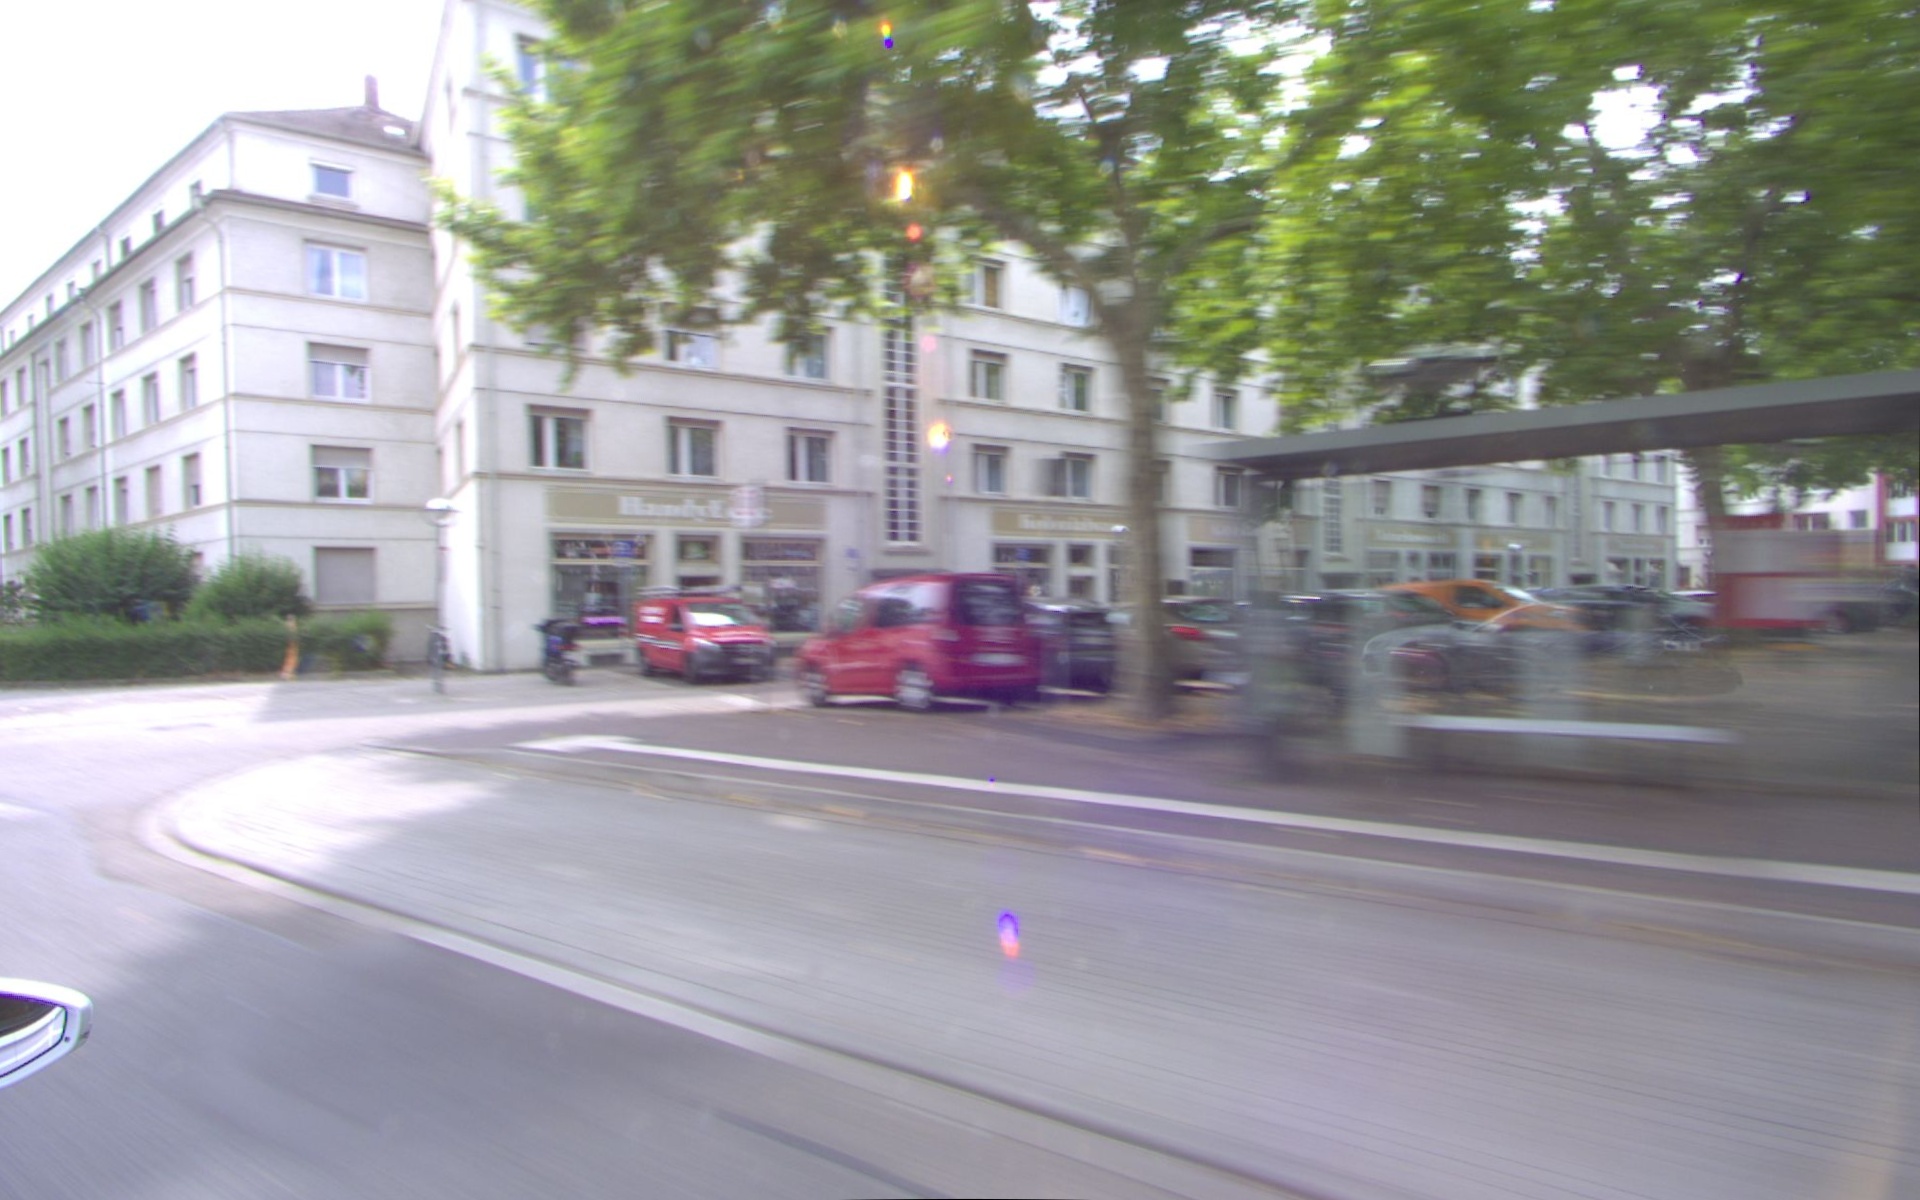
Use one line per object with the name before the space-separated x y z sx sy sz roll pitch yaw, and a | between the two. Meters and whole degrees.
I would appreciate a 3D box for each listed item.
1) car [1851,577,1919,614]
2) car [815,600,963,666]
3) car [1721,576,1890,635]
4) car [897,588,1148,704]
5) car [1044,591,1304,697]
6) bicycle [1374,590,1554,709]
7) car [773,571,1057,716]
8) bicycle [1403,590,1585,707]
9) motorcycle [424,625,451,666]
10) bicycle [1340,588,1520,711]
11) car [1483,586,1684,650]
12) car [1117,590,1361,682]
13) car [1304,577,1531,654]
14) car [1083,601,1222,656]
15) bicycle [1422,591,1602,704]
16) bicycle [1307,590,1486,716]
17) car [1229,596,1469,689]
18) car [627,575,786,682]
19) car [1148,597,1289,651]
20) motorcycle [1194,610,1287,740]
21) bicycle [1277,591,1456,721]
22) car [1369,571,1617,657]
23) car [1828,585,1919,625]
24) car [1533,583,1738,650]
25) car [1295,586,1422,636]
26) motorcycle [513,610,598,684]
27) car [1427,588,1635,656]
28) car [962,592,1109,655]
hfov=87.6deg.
car | 39.652 -0.206 41.169 1.967 1.503 4.087 -1 0 -23
car | -1.915 0.813 25.895 1.974 1.524 4.167 -1 0 -34
car | 27.812 0.203 33.041 1.894 1.839 3.970 -1 0 -38
car | 0.858 0.658 15.850 1.810 1.572 3.971 -1 0 -37
car | 3.348 0.660 16.414 1.728 1.483 4.159 -1 0 -33
bicycle | 6.401 0.588 12.890 0.413 1.396 2.302 -1 1 -25
car | -0.803 0.556 14.233 1.915 1.728 4.298 -1 0 -37
bicycle | 6.916 0.602 13.123 0.413 1.396 2.302 -1 0 -25
motorcycle | -14.018 1.211 26.841 0.428 1.029 1.438 -1 1 -36
bicycle | 5.820 0.587 12.588 0.413 1.396 2.302 -1 0 -25
car | 15.952 0.460 25.782 1.975 1.483 3.971 -1 0 -37
car | 5.044 0.626 18.505 1.975 1.483 3.971 -1 0 -37
car | 9.681 0.322 21.425 1.975 1.483 3.971 -1 0 -37
car | 6.071 0.895 32.026 1.975 1.612 4.166 -1 0 -36
bicycle | 7.330 0.603 13.457 0.413 1.396 2.302 -1 0 -25
bicycle | 5.269 0.594 12.274 0.413 1.396 2.302 -1 1 -25
car | 7.556 0.782 19.735 1.975 1.620 3.971 -1 0 -37
car | -5.913 0.609 22.941 1.974 2.178 4.813 -1 0 -34
car | 8.329 0.770 32.553 1.975 1.612 4.166 -1 0 -36
motorcycle | 3.006 0.732 10.609 0.523 1.239 1.851 0 0 29
bicycle | 4.748 0.593 11.903 0.413 1.397 2.301 -1 1 -25
car | 11.856 0.310 22.560 1.975 1.717 4.527 -1 0 -37
car | 36.742 0.188 38.930 1.967 1.503 4.087 -1 0 -23
car | 18.114 0.439 27.020 1.975 1.639 4.174 -1 0 -37
car | 14.671 0.422 37.031 1.975 1.750 3.973 -1 0 -35
motorcycle | -8.658 0.967 21.379 2.281 1.481 0.827 0 1 44
car | 13.841 0.523 24.439 1.975 1.483 3.971 -1 0 -37
car | 2.039 0.638 28.206 1.974 1.612 4.167 -1 0 -34
